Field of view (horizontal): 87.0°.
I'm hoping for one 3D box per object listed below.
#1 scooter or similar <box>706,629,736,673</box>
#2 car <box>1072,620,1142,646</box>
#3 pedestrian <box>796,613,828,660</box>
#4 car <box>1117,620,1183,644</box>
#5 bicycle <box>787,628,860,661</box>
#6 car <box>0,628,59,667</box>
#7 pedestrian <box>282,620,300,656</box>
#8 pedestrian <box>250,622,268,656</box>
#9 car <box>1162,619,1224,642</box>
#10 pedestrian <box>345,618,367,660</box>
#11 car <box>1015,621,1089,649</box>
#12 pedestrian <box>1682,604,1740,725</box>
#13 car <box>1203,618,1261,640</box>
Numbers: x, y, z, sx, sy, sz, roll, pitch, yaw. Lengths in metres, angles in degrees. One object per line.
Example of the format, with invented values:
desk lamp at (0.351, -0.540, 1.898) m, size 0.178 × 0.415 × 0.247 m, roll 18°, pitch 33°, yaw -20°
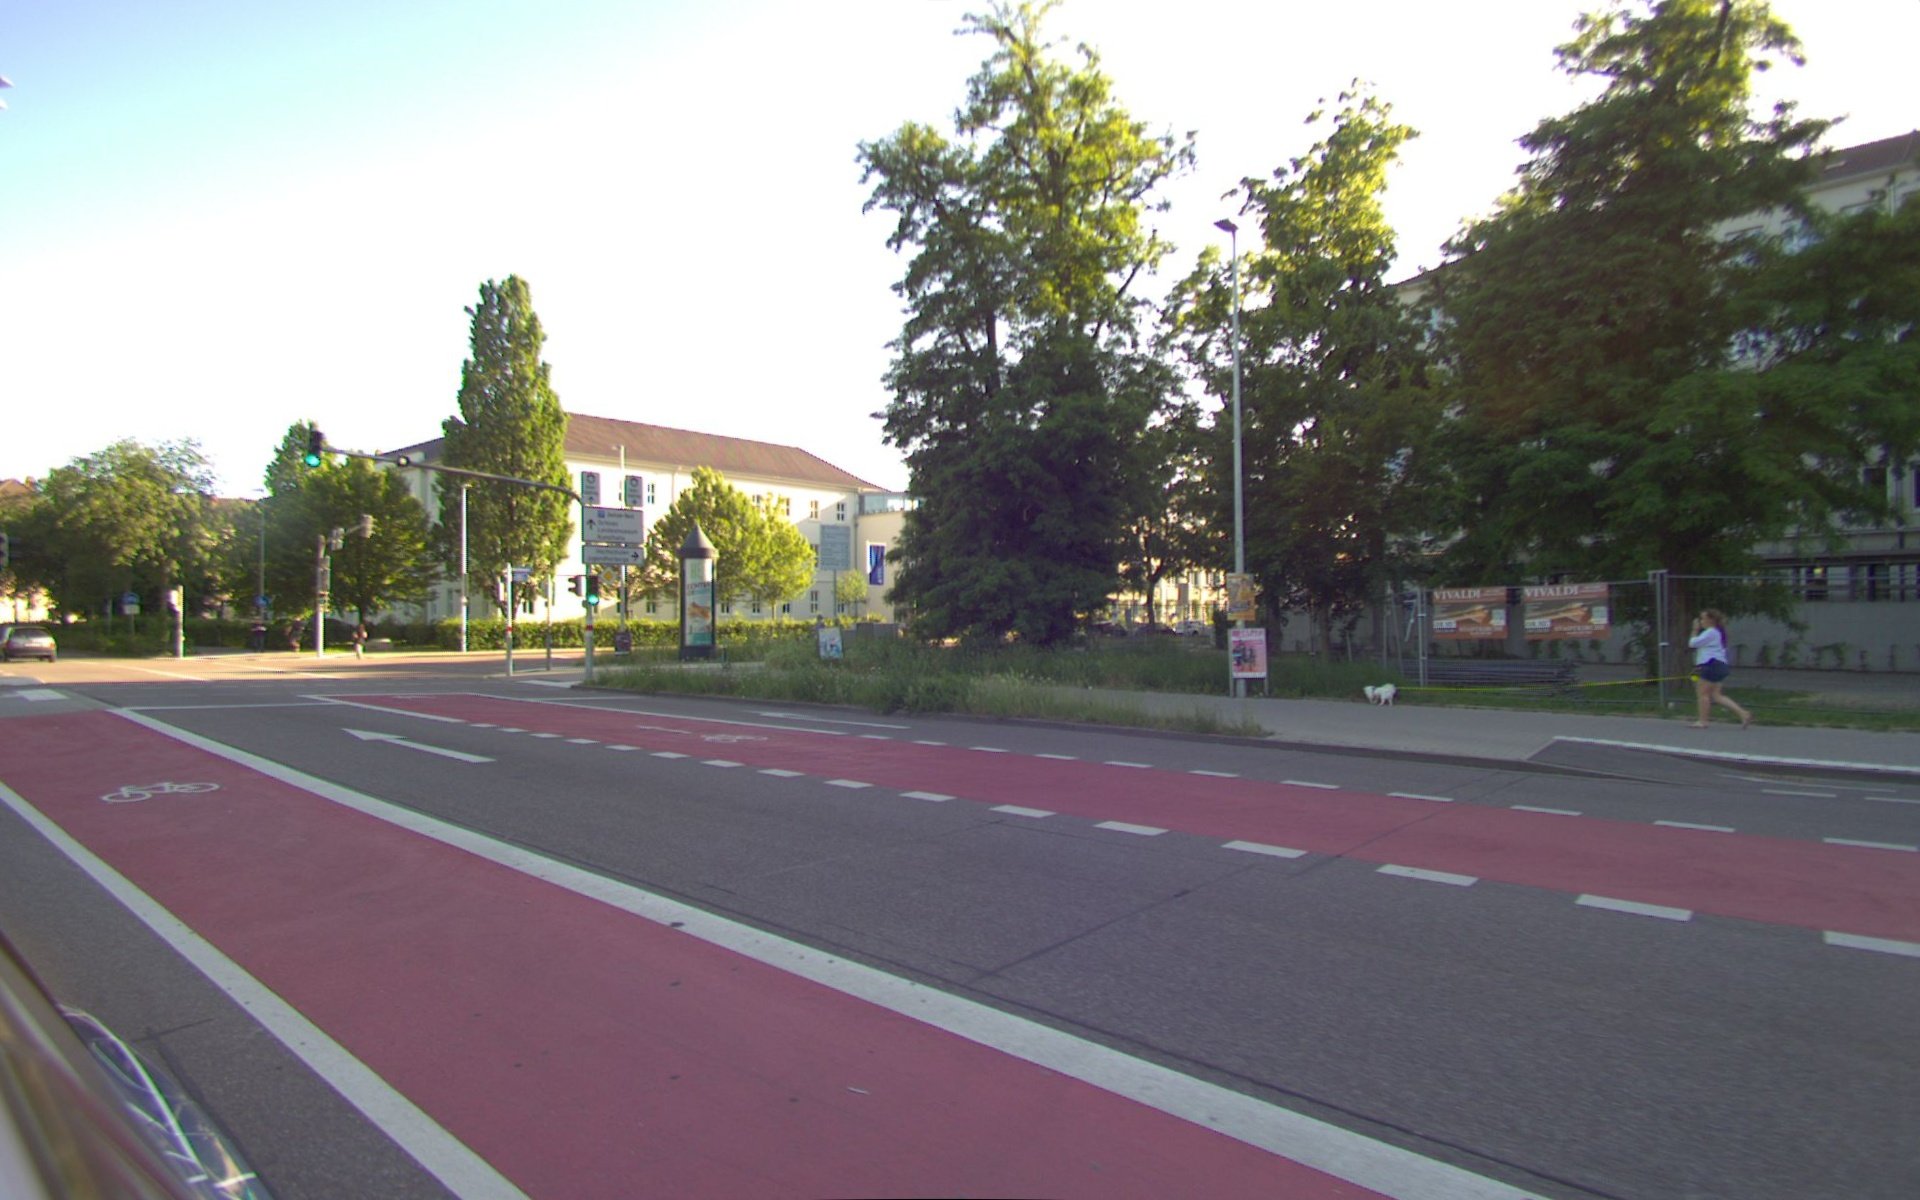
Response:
scooter or similar at (-7.274, 1.536, 30.740) m, size 0.683 × 1.304 × 1.501 m, roll 0°, pitch -1°, yaw -21°
car at (9.332, 2.067, 64.262) m, size 4.194 × 1.551 × 2.240 m, roll 1°, pitch -2°, yaw -43°
pedestrian at (-5.413, 1.325, 36.922) m, size 0.643 × 1.709 × 0.966 m, roll -2°, pitch -2°, yaw 44°
car at (12.774, 2.117, 67.970) m, size 4.194 × 1.551 × 2.240 m, roll 1°, pitch -2°, yaw -43°
bicycle at (-4.938, 1.599, 36.752) m, size 0.980 × 1.144 × 2.542 m, roll -2°, pitch -2°, yaw 44°
car at (-38.028, 1.889, 40.751) m, size 4.545 × 1.432 × 1.695 m, roll -2°, pitch -1°, yaw 36°
pedestrian at (-33.818, 1.916, 51.160) m, size 0.681 × 1.830 × 0.681 m, roll 1°, pitch -2°, yaw -42°
pedestrian at (-35.465, 1.953, 51.192) m, size 0.681 × 1.694 × 0.681 m, roll 1°, pitch -2°, yaw -42°
car at (16.439, 2.103, 71.315) m, size 4.194 × 1.551 × 2.240 m, roll 1°, pitch -2°, yaw -43°
pedestrian at (-26.974, 1.742, 45.191) m, size 0.734 × 1.830 × 0.727 m, roll 1°, pitch -2°, yaw -42°
car at (5.503, 2.052, 60.290) m, size 4.194 × 1.551 × 2.071 m, roll 1°, pitch -2°, yaw -43°
pedestrian at (9.804, 0.827, 13.223) m, size 0.570 × 1.545 × 0.447 m, roll -1°, pitch -2°, yaw 36°
car at (20.115, 2.108, 74.676) m, size 4.194 × 1.551 × 2.240 m, roll 1°, pitch -2°, yaw -43°
